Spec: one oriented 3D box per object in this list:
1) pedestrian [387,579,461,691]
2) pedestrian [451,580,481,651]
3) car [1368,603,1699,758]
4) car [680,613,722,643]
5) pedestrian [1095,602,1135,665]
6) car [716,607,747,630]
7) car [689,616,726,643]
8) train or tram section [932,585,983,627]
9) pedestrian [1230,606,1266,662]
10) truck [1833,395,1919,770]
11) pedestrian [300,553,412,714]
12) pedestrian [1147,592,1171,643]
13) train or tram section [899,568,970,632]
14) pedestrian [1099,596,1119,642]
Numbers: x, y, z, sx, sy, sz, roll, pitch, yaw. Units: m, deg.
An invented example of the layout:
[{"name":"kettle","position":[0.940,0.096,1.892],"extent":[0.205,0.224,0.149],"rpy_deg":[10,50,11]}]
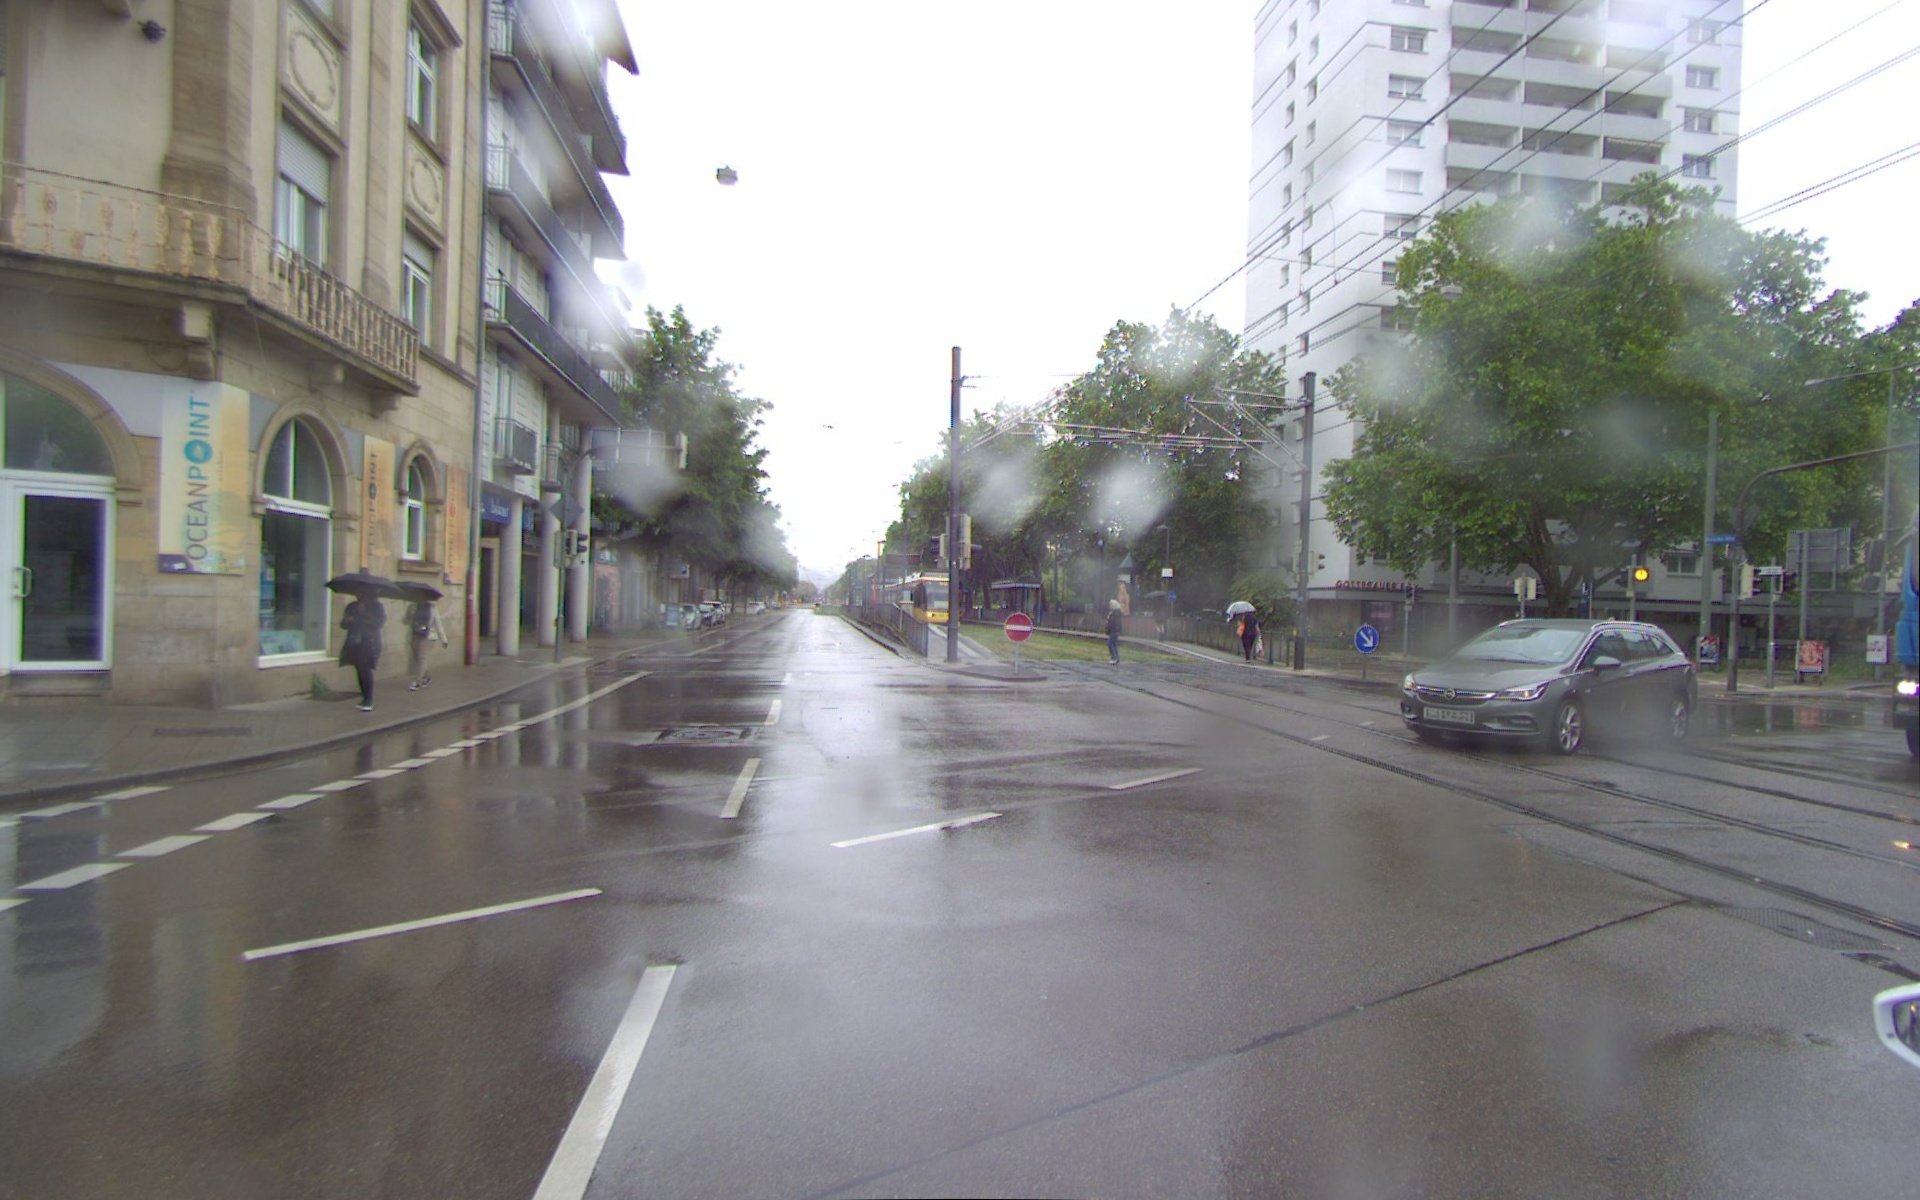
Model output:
[{"name":"pedestrian","position":[-8.491,0.551,15.946],"extent":[0.728,1.680,0.742],"rpy_deg":[5,-1,-13]},{"name":"pedestrian","position":[-12.749,0.409,25.945],"extent":[0.490,1.804,0.610],"rpy_deg":[1,0,-8]},{"name":"car","position":[7.007,0.887,12.137],"extent":[4.294,1.567,1.716],"rpy_deg":[2,-1,-33]},{"name":"car","position":[-13.770,1.479,53.538],"extent":[1.792,1.439,3.993],"rpy_deg":[2,0,-9]},{"name":"pedestrian","position":[4.184,0.898,27.160],"extent":[0.744,1.670,0.835],"rpy_deg":[1,-1,-17]},{"name":"car","position":[-15.598,1.242,68.628],"extent":[1.792,1.439,3.993],"rpy_deg":[2,0,-9]},{"name":"car","position":[-15.029,1.735,59.957],"extent":[1.792,1.439,3.993],"rpy_deg":[2,0,-9]},{"name":"train or tram section","position":[-0.366,0.562,92.358],"extent":[3.016,3.550,11.561],"rpy_deg":[2,-1,-8]},{"name":"pedestrian","position":[8.860,1.046,30.935],"extent":[0.780,1.670,0.816],"rpy_deg":[1,-1,-9]},{"name":"truck","position":[15.046,-0.040,13.136],"extent":[10.207,4.078,2.829],"rpy_deg":[2,-1,-33]},{"name":"pedestrian","position":[-7.873,0.436,13.128],"extent":[0.904,1.991,0.700],"rpy_deg":[4,-1,-7]},{"name":"pedestrian","position":[7.451,0.655,37.637],"extent":[0.628,1.863,0.678],"rpy_deg":[1,-1,-9]},{"name":"train or tram section","position":[-1.763,0.049,62.468],"extent":[3.016,3.550,11.561],"rpy_deg":[2,-1,-8]},{"name":"pedestrian","position":[6.857,0.859,46.159],"extent":[0.626,2.105,0.700],"rpy_deg":[2,0,-13]}]
